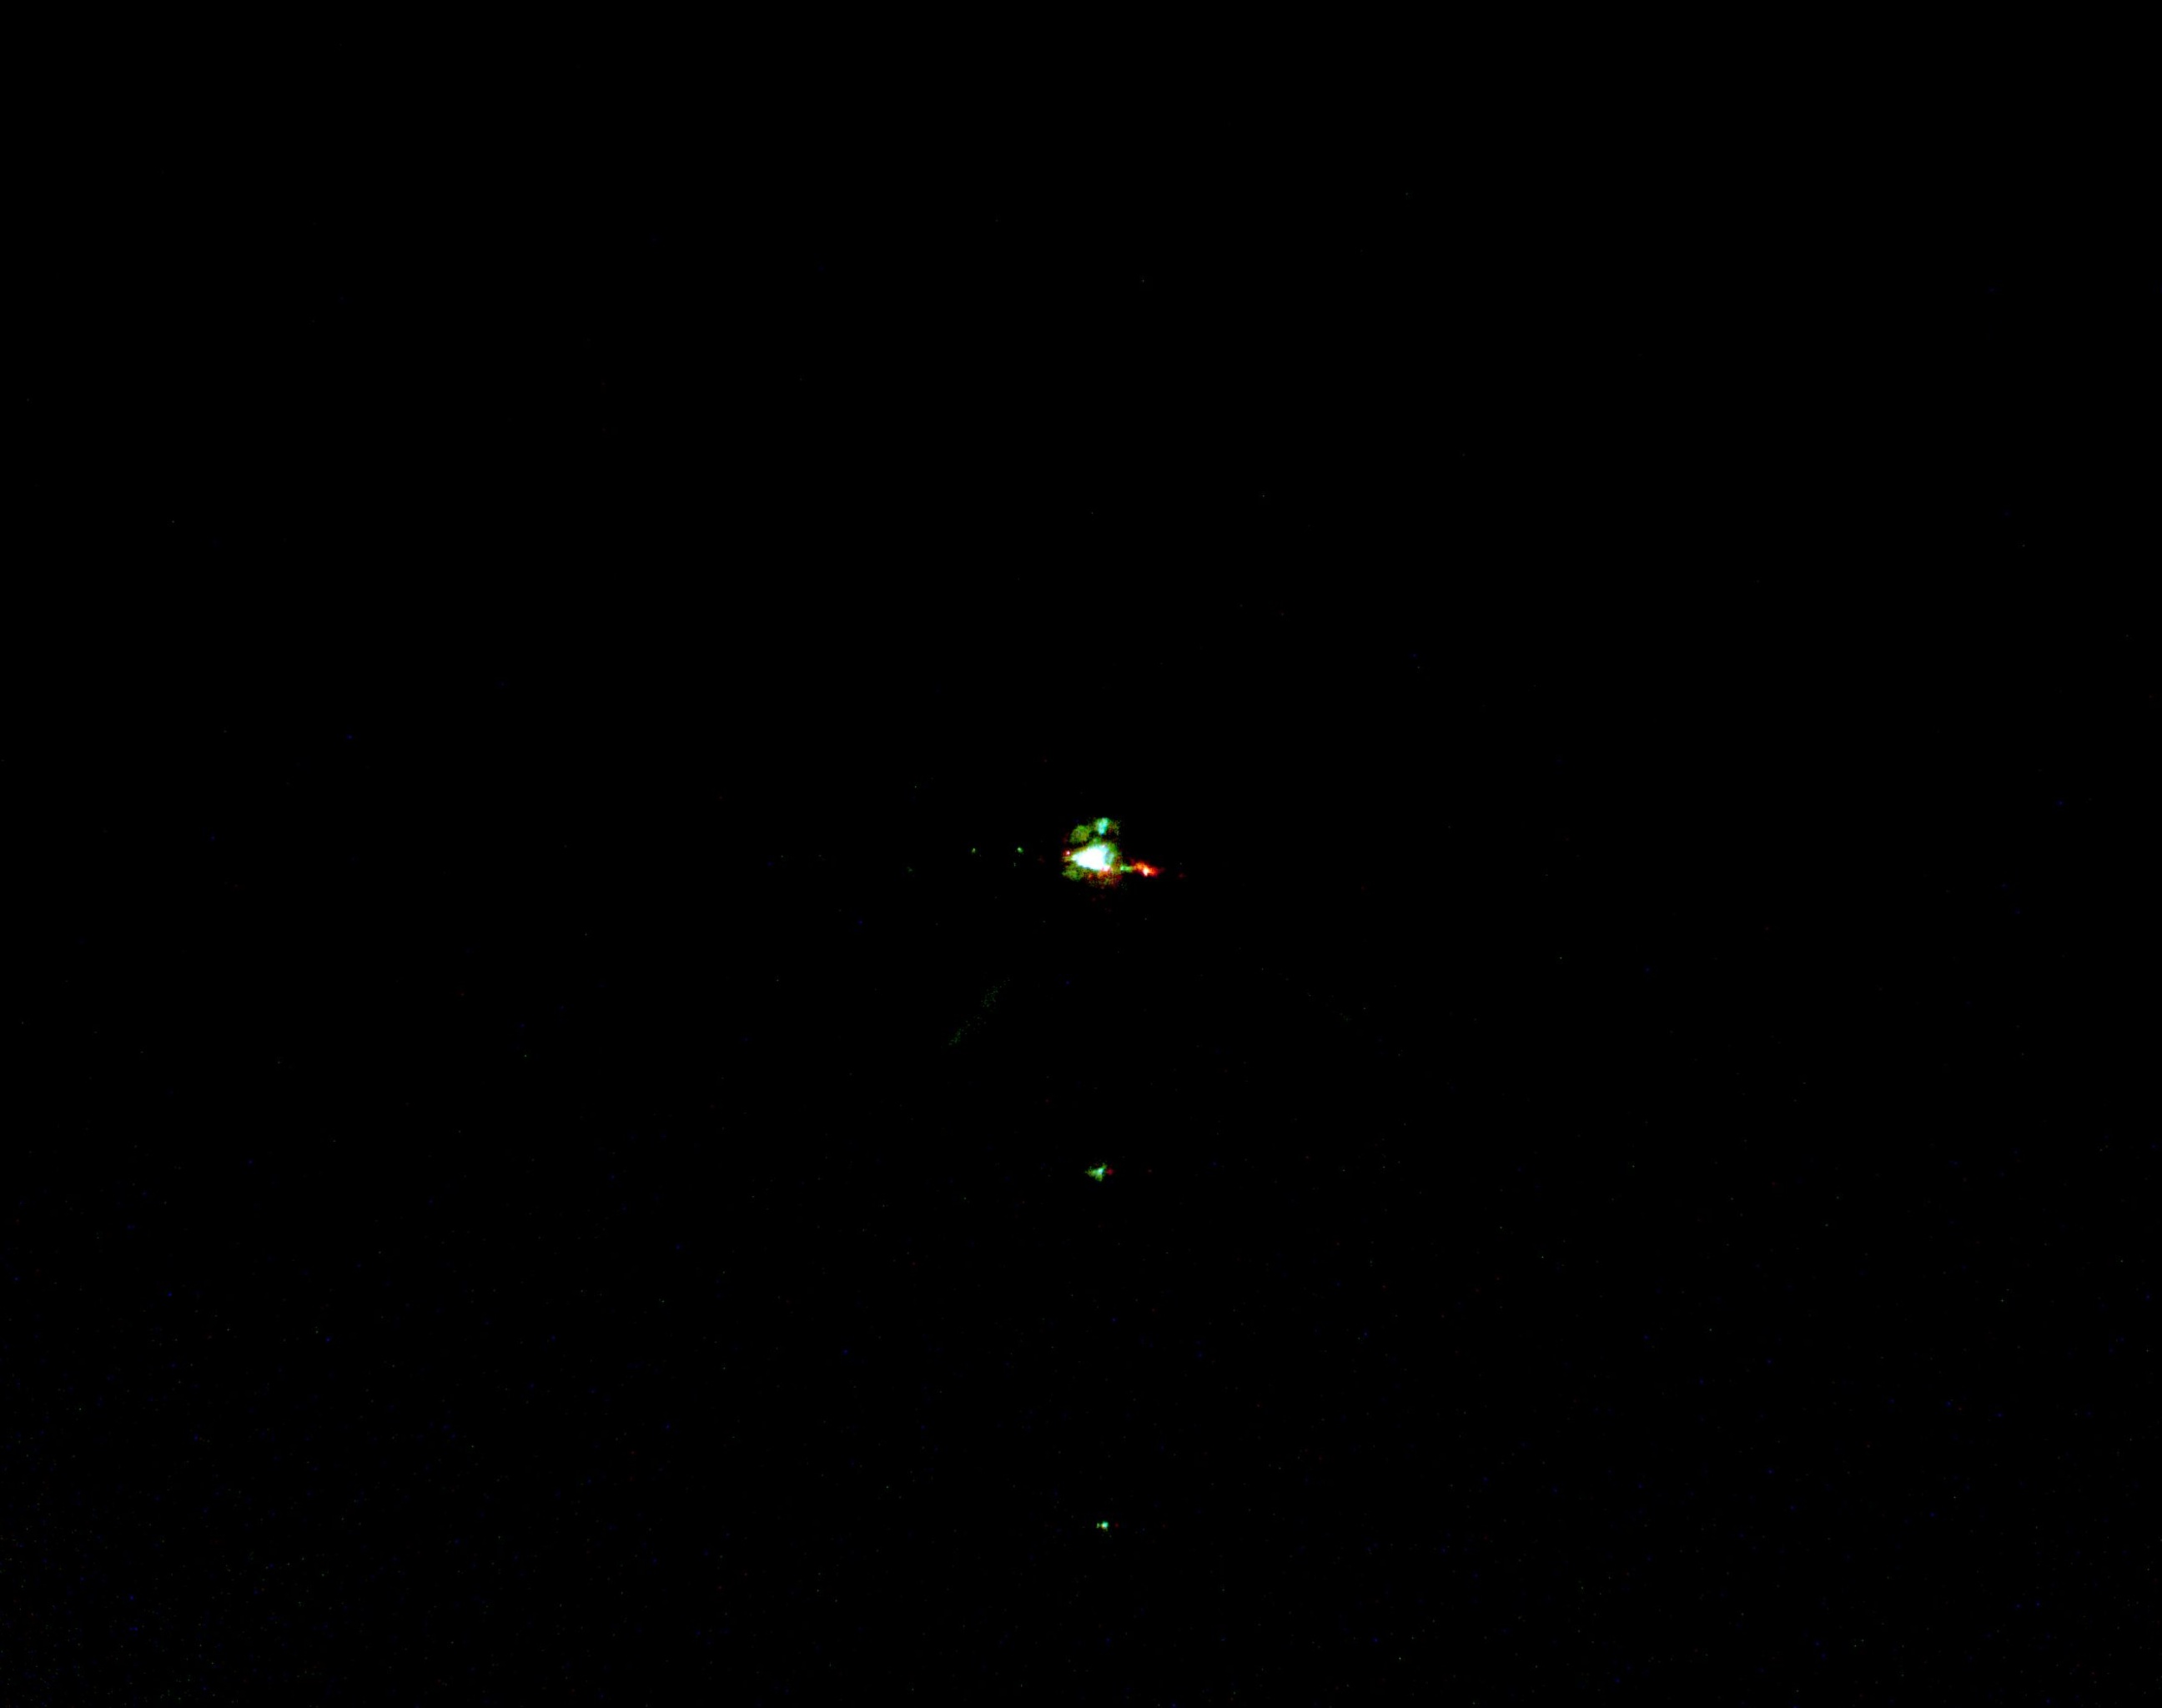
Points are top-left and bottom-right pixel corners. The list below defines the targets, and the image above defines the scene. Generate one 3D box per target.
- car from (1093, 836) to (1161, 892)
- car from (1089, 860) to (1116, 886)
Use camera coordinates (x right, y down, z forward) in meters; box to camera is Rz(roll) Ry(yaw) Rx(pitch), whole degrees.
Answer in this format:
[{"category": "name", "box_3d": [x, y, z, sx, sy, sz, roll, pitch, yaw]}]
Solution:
[{"category": "car", "box_3d": [1.836, 0.395, 32.859, 2.448, 1.958, 4.914, -3, -1, 2]}, {"category": "car", "box_3d": [1.828, 1.629, 70.876, 1.989, 2.013, 3.996, -5, -1, -2]}]
